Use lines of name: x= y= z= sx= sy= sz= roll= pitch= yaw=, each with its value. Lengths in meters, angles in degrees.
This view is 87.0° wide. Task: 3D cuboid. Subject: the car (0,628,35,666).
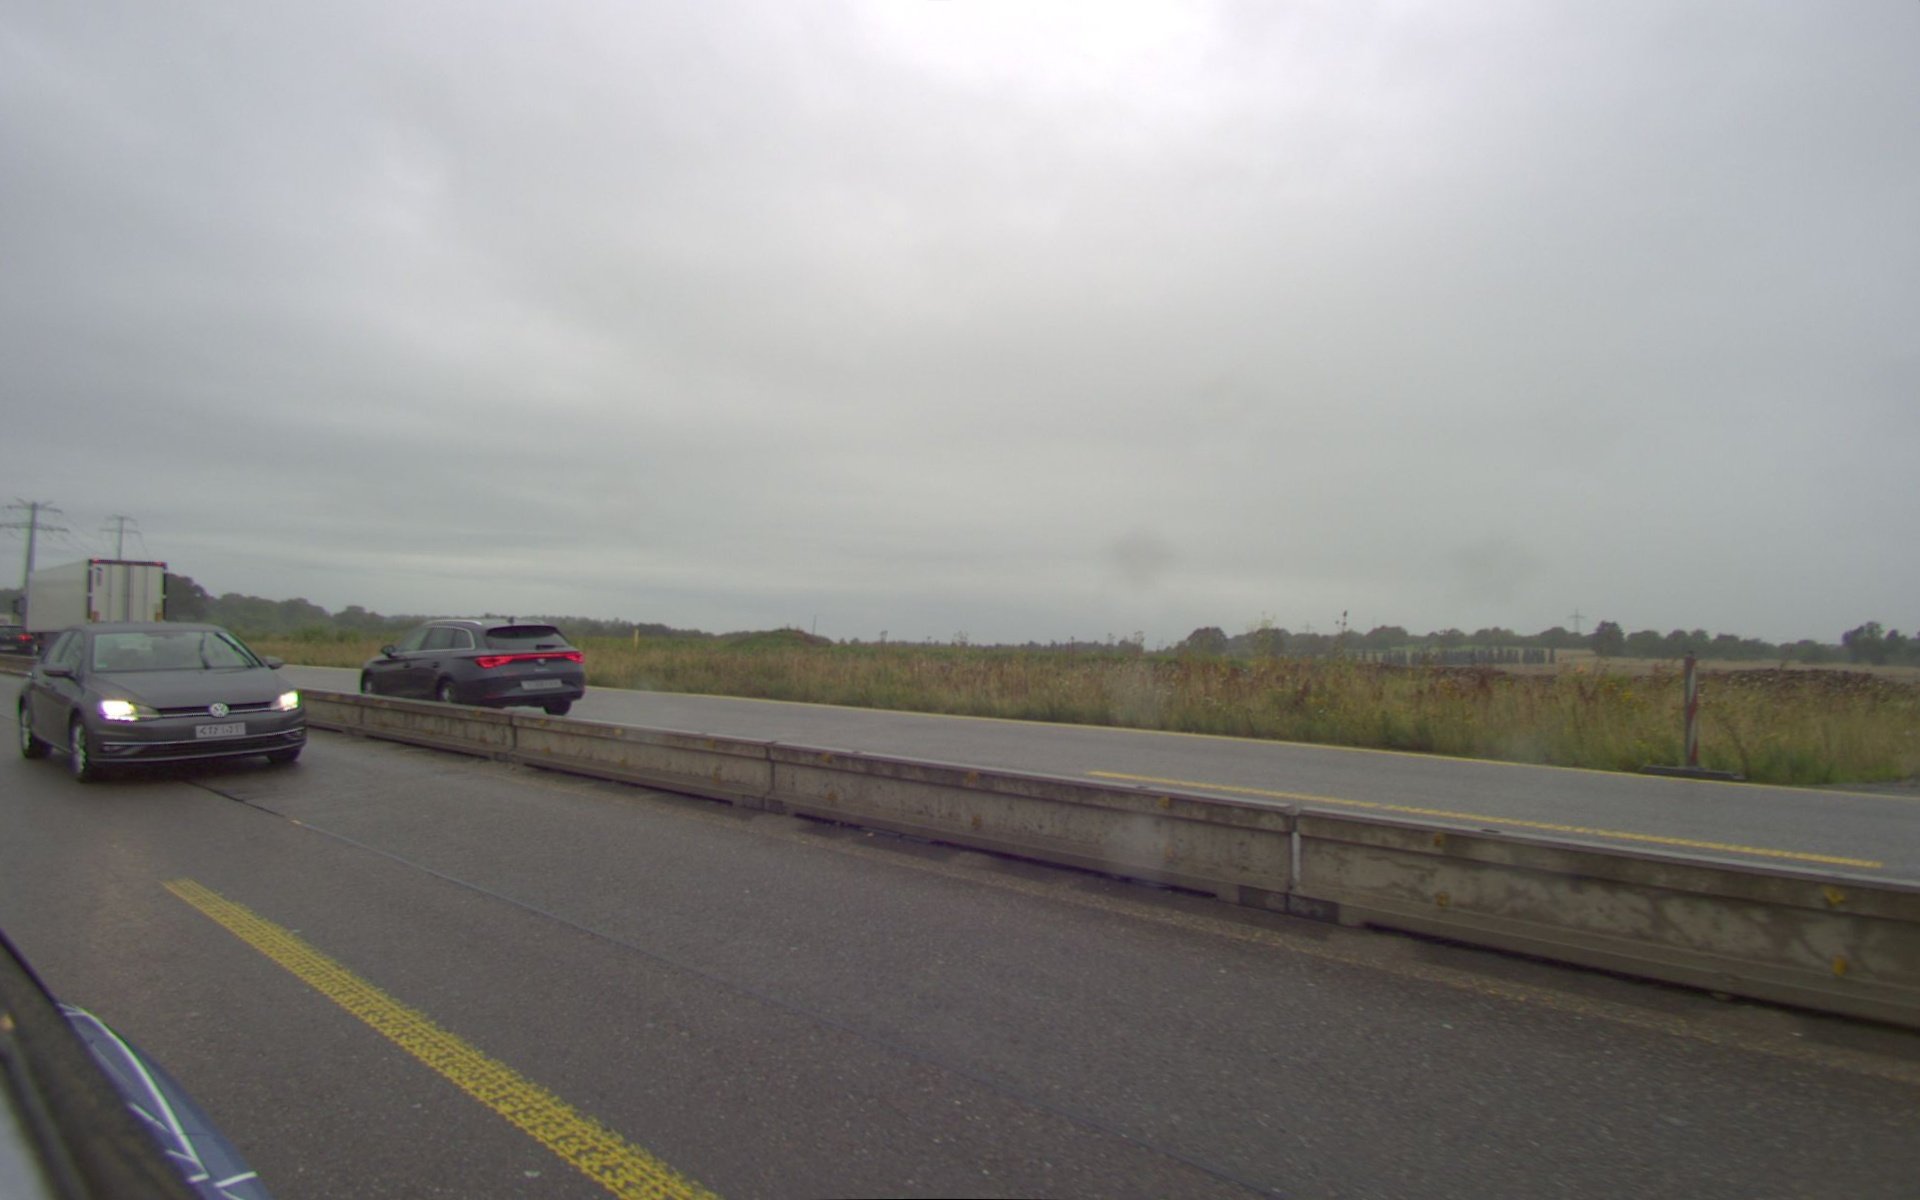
car: x=-39.061 y=1.884 z=41.057 sx=4.087 sy=1.431 sz=1.701 roll=-1 pitch=-1 yaw=40

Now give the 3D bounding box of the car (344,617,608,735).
car: x=-7.267 y=0.993 z=14.975 sx=4.695 sy=1.454 sz=1.807 roll=-1 pitch=-1 yaw=41

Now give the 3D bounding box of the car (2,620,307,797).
car: x=-8.375 y=0.947 z=10.397 sx=4.076 sy=1.433 sz=1.633 roll=-1 pitch=-1 yaw=39

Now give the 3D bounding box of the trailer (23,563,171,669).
trailer: x=-39.351 y=0.781 z=45.857 sx=13.661 sy=4.232 sz=2.758 roll=-1 pitch=-2 yaw=40

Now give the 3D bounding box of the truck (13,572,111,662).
truck: x=-44.665 y=0.881 z=50.287 sx=5.902 sy=4.213 sz=2.758 roll=-1 pitch=-2 yaw=40
